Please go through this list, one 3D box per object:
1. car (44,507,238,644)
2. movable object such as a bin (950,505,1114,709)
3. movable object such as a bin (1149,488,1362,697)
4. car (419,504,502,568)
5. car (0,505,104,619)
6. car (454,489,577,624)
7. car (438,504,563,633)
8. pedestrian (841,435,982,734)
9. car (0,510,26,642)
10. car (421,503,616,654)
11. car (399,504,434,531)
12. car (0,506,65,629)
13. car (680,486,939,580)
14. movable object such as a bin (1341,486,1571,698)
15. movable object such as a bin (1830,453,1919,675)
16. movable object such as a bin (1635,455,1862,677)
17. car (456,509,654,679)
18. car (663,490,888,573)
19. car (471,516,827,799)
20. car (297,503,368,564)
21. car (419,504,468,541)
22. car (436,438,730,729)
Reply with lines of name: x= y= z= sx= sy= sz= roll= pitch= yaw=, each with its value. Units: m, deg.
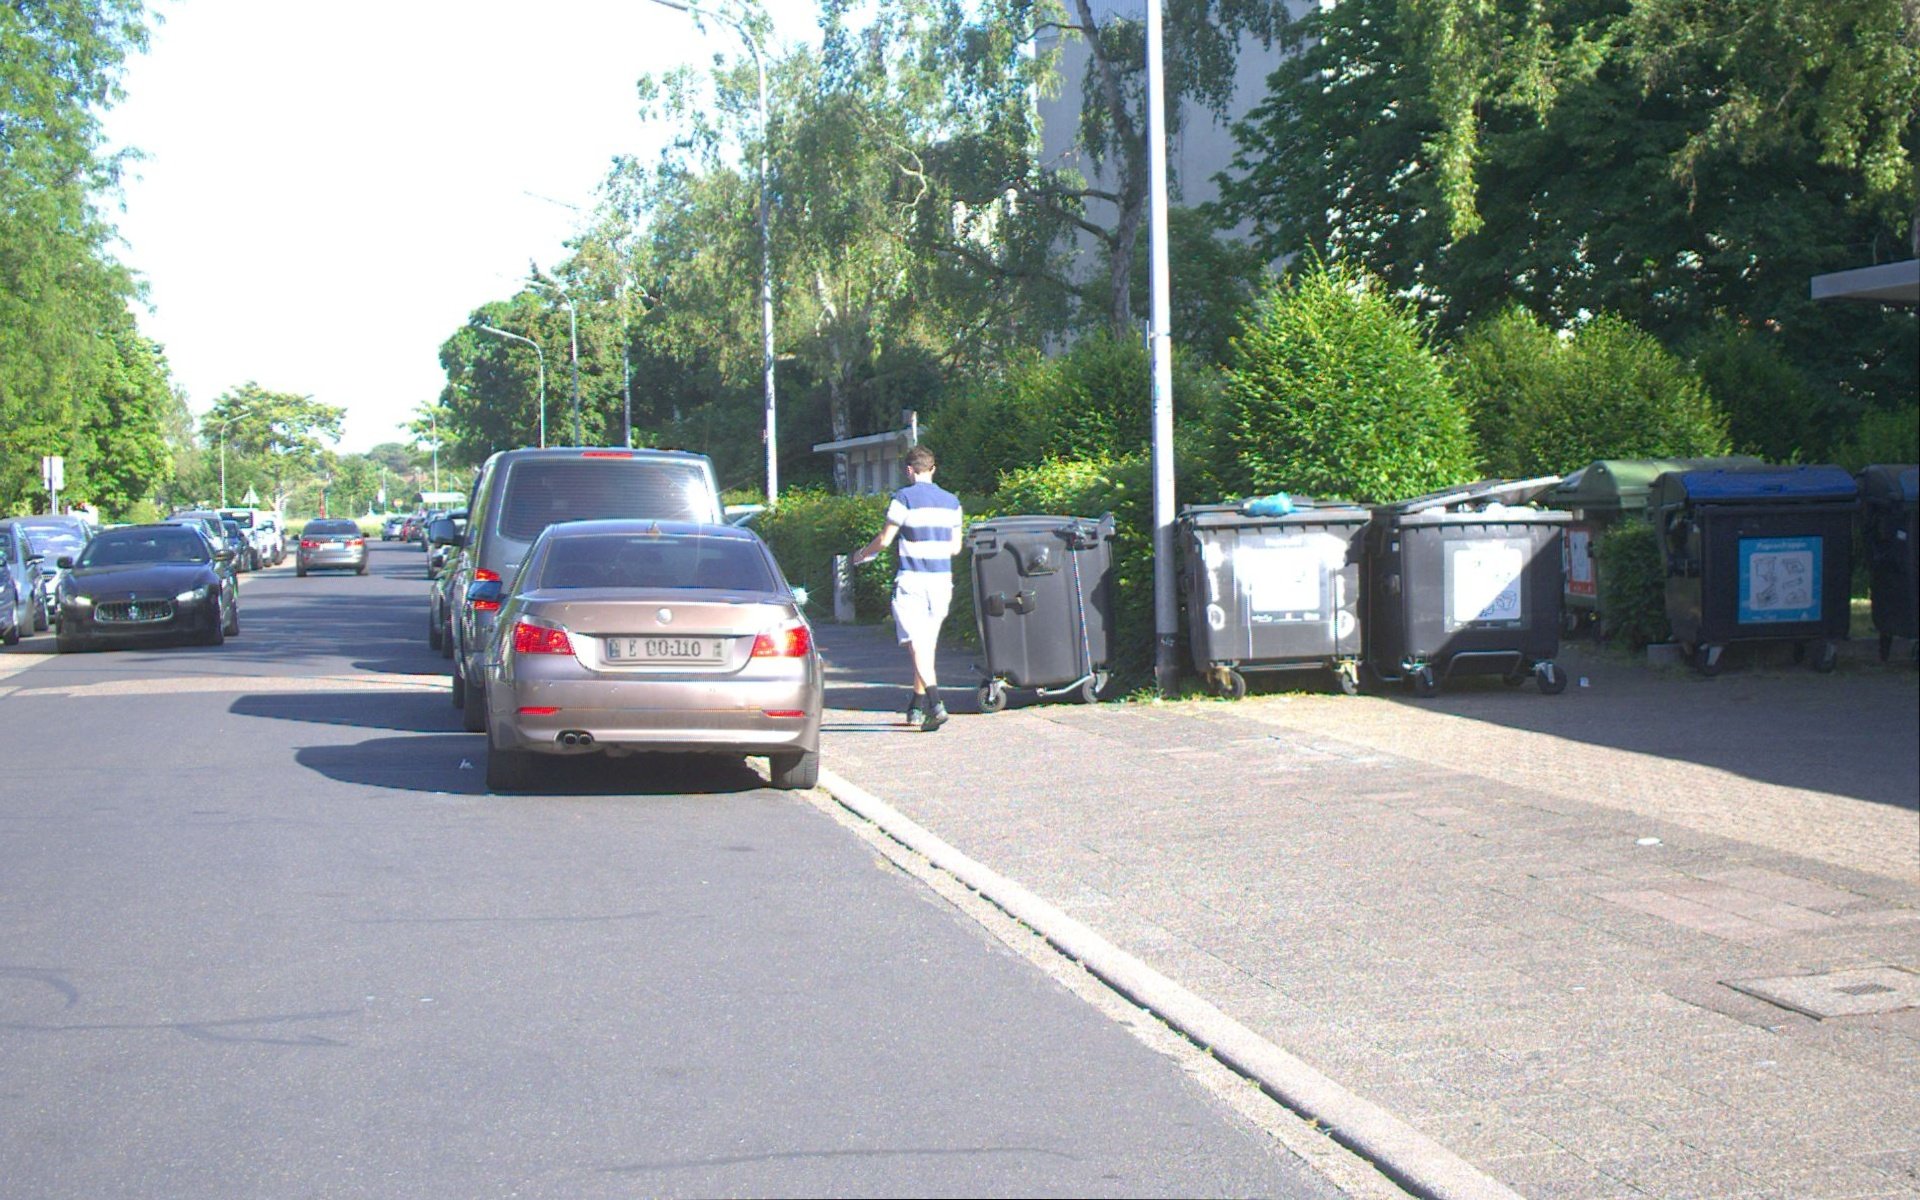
car: x=-9.789 y=-0.341 z=41.390 sx=1.910 sy=1.471 sz=4.572 roll=-2 pitch=2 yaw=-9
movable object such as a bin: x=0.504 y=0.033 z=24.162 sx=1.026 sy=1.305 sz=1.387 roll=-4 pitch=2 yaw=1
movable object such as a bin: x=1.995 y=-0.067 z=23.386 sx=1.223 sy=1.360 sz=1.133 roll=-2 pitch=2 yaw=-6
car: x=-12.051 y=-1.553 z=82.782 sx=1.753 sy=1.508 sz=4.105 roll=0 pitch=1 yaw=-12
car: x=-14.361 y=-0.603 z=52.822 sx=1.902 sy=1.634 sz=4.350 roll=-3 pitch=2 yaw=-9
car: x=-5.822 y=-0.590 z=44.897 sx=1.488 sy=1.712 sz=2.584 roll=0 pitch=1 yaw=-10
car: x=-5.581 y=-0.408 z=41.926 sx=1.415 sy=1.518 sz=2.558 roll=0 pitch=1 yaw=-5
pedestrian: x=-0.326 y=-0.114 z=22.538 sx=0.703 sy=1.882 sz=0.873 roll=-4 pitch=2 yaw=-8
car: x=-12.671 y=-0.246 z=42.220 sx=1.754 sy=1.600 sz=3.970 roll=-4 pitch=2 yaw=-8
car: x=-4.897 y=-0.285 z=37.654 sx=1.731 sy=1.484 sz=4.503 roll=-3 pitch=2 yaw=-11
car: x=-31.468 y=-4.800 z=198.938 sx=1.795 sy=1.543 sz=3.953 roll=-1 pitch=2 yaw=-11
car: x=-13.325 y=-0.456 z=47.285 sx=1.635 sy=1.600 sz=3.536 roll=-3 pitch=2 yaw=-10
car: x=-2.771 y=-1.237 z=62.753 sx=4.512 sy=1.508 sz=1.829 roll=-3 pitch=2 yaw=-8
movable object such as a bin: x=3.332 y=-0.072 z=23.195 sx=1.276 sy=1.360 sz=1.133 roll=-2 pitch=2 yaw=-6
movable object such as a bin: x=6.961 y=-0.278 z=24.260 sx=1.276 sy=1.460 sz=1.133 roll=-2 pitch=5 yaw=-6
movable object such as a bin: x=5.597 y=-0.261 z=24.484 sx=1.276 sy=1.460 sz=1.133 roll=-2 pitch=5 yaw=-6
car: x=-3.846 y=-0.107 z=32.218 sx=1.622 sy=1.484 sz=4.037 roll=0 pitch=2 yaw=-10
car: x=-3.821 y=-1.419 z=70.896 sx=4.414 sy=1.508 sz=1.829 roll=-3 pitch=2 yaw=-8
car: x=-1.890 y=0.234 z=19.857 sx=1.800 sy=1.414 sz=4.637 roll=-1 pitch=2 yaw=-8
car: x=-16.015 y=-1.719 z=87.619 sx=1.679 sy=1.508 sz=4.105 roll=0 pitch=1 yaw=-12
car: x=-21.693 y=-3.258 z=144.306 sx=1.795 sy=1.556 sz=3.953 roll=-1 pitch=2 yaw=-11
car: x=-2.863 y=-0.175 z=25.262 sx=1.852 sy=1.927 sz=4.706 roll=0 pitch=2 yaw=-10
